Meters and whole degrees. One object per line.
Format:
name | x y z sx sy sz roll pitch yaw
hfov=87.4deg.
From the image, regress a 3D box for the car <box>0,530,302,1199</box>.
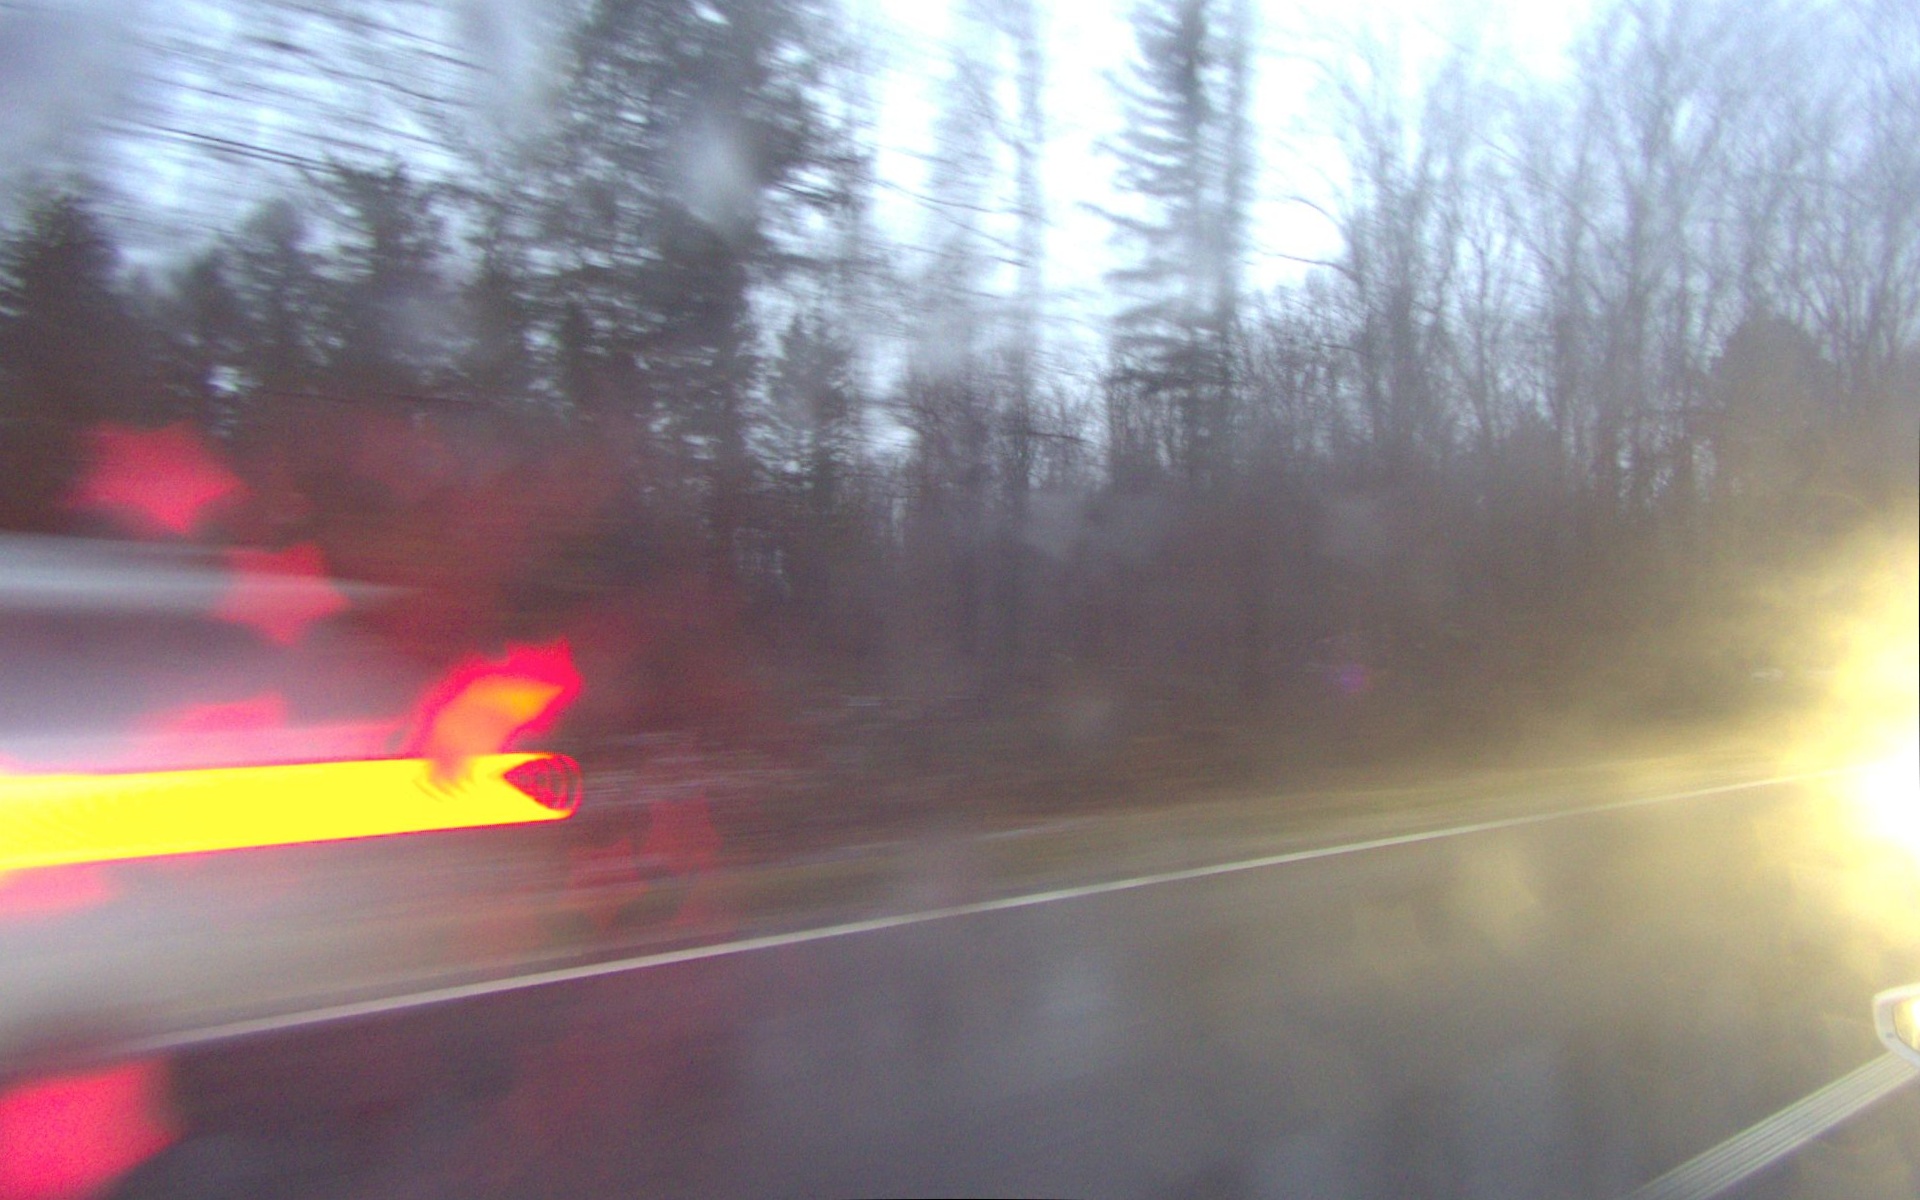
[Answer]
car | -4.027 0.650 1.468 4.956 1.629 1.909 2 -2 -30
